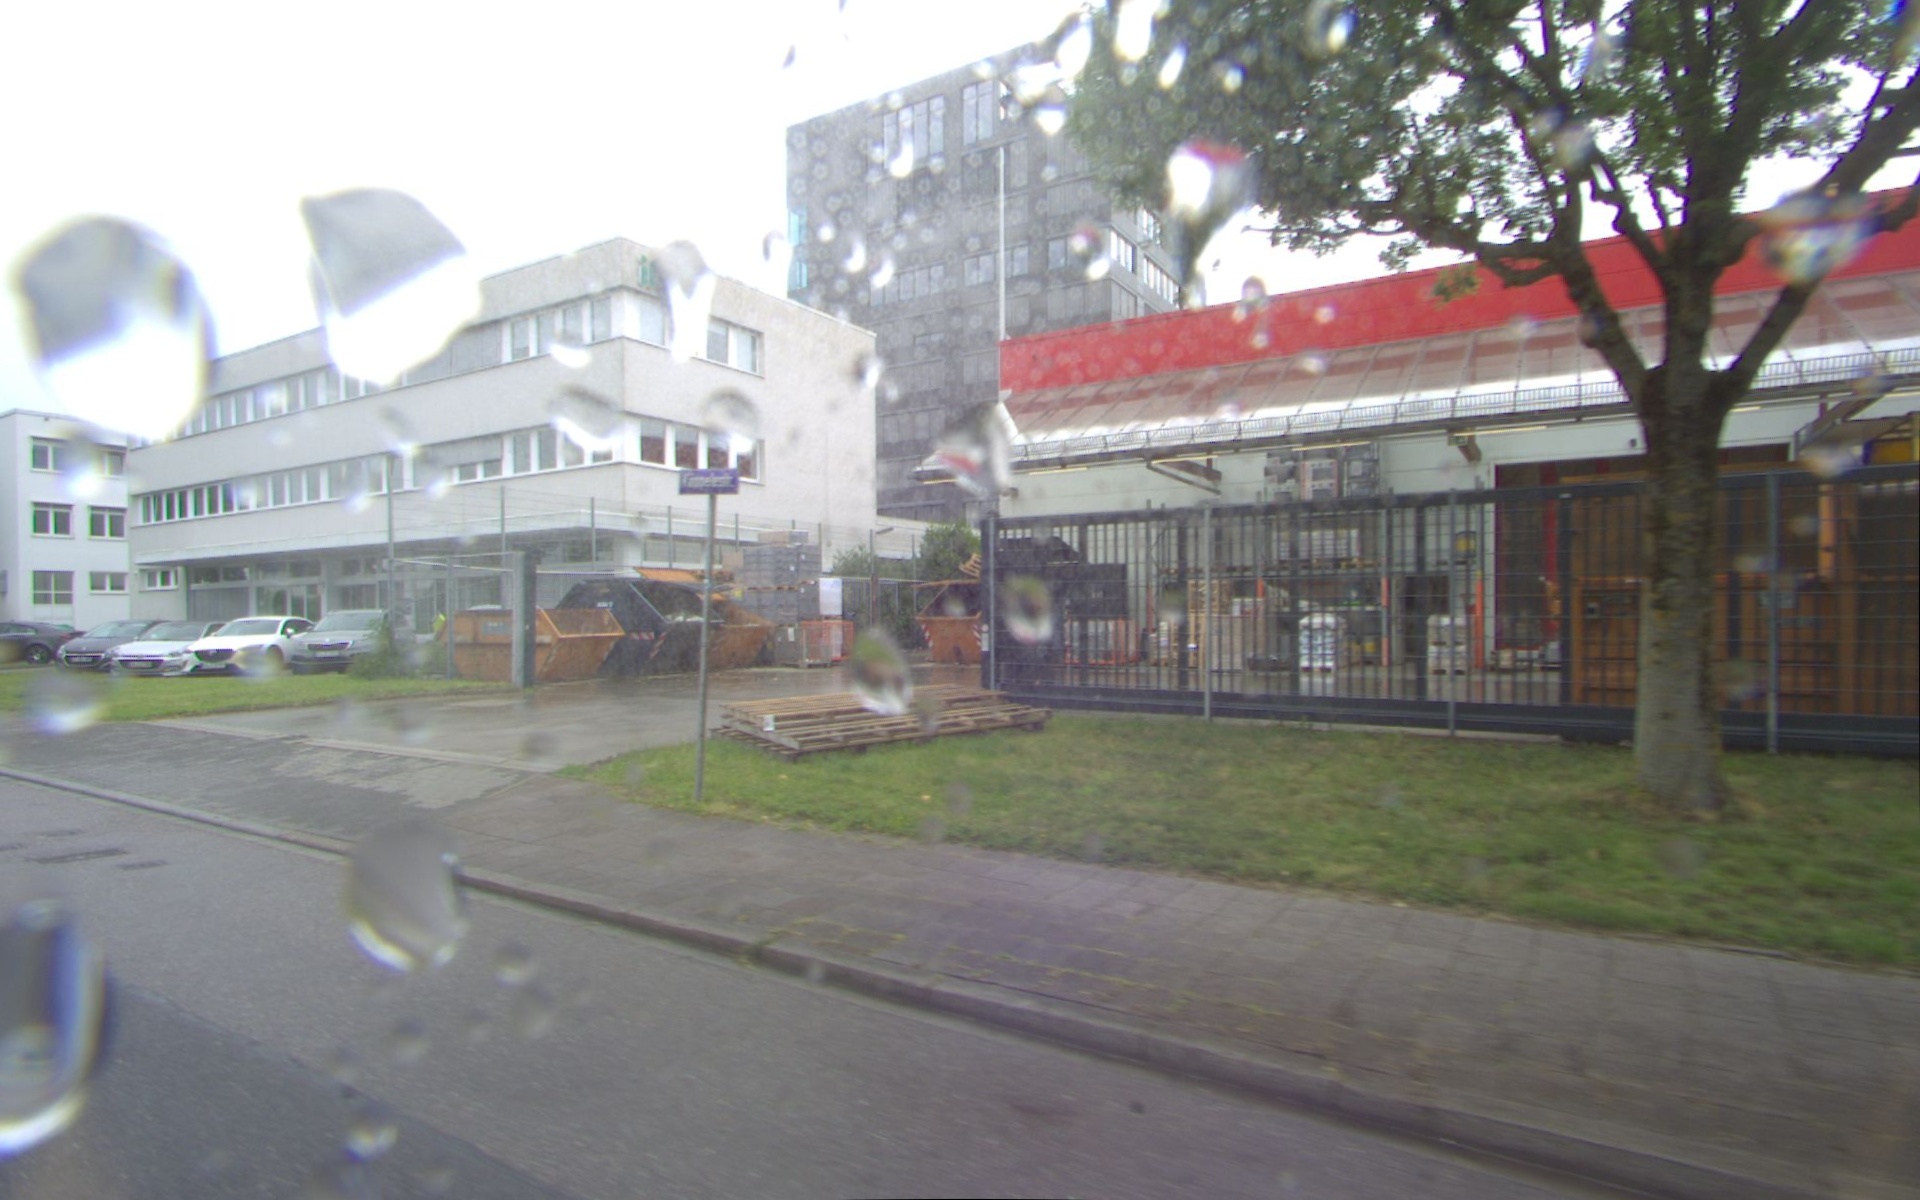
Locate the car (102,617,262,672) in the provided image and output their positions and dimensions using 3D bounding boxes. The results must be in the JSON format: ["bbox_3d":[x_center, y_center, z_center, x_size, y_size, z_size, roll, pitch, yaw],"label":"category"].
[{"bbox_3d":[-20.123,1.107,26.113,1.675,1.303,3.996,0,-1,-12],"label":"car"}]

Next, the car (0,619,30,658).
[{"bbox_3d":[-37.771,1.373,37.611,3.715,1.414,1.724,3,-1,-17],"label":"car"}]

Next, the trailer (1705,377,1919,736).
[{"bbox_3d":[14.728,-0.600,11.701,9.338,4.298,2.960,-2,-1,33],"label":"trailer"}]

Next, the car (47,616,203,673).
[{"bbox_3d":[-22.719,1.167,27.432,1.675,1.411,3.765,0,-1,-12],"label":"car"}]

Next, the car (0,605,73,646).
[{"bbox_3d":[-49.164,1.291,50.420,1.969,2.039,6.449,-1,-2,28],"label":"car"}]

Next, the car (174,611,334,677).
[{"bbox_3d":[-17.230,1.017,24.671,1.742,1.489,3.996,0,-1,-12],"label":"car"}]

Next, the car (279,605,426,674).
[{"bbox_3d":[-14.716,0.905,24.505,1.838,1.547,3.996,0,-1,-12],"label":"car"}]

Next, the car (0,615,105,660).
[{"bbox_3d":[-32.265,1.267,33.962,4.596,1.487,1.787,0,0,-20],"label":"car"}]
